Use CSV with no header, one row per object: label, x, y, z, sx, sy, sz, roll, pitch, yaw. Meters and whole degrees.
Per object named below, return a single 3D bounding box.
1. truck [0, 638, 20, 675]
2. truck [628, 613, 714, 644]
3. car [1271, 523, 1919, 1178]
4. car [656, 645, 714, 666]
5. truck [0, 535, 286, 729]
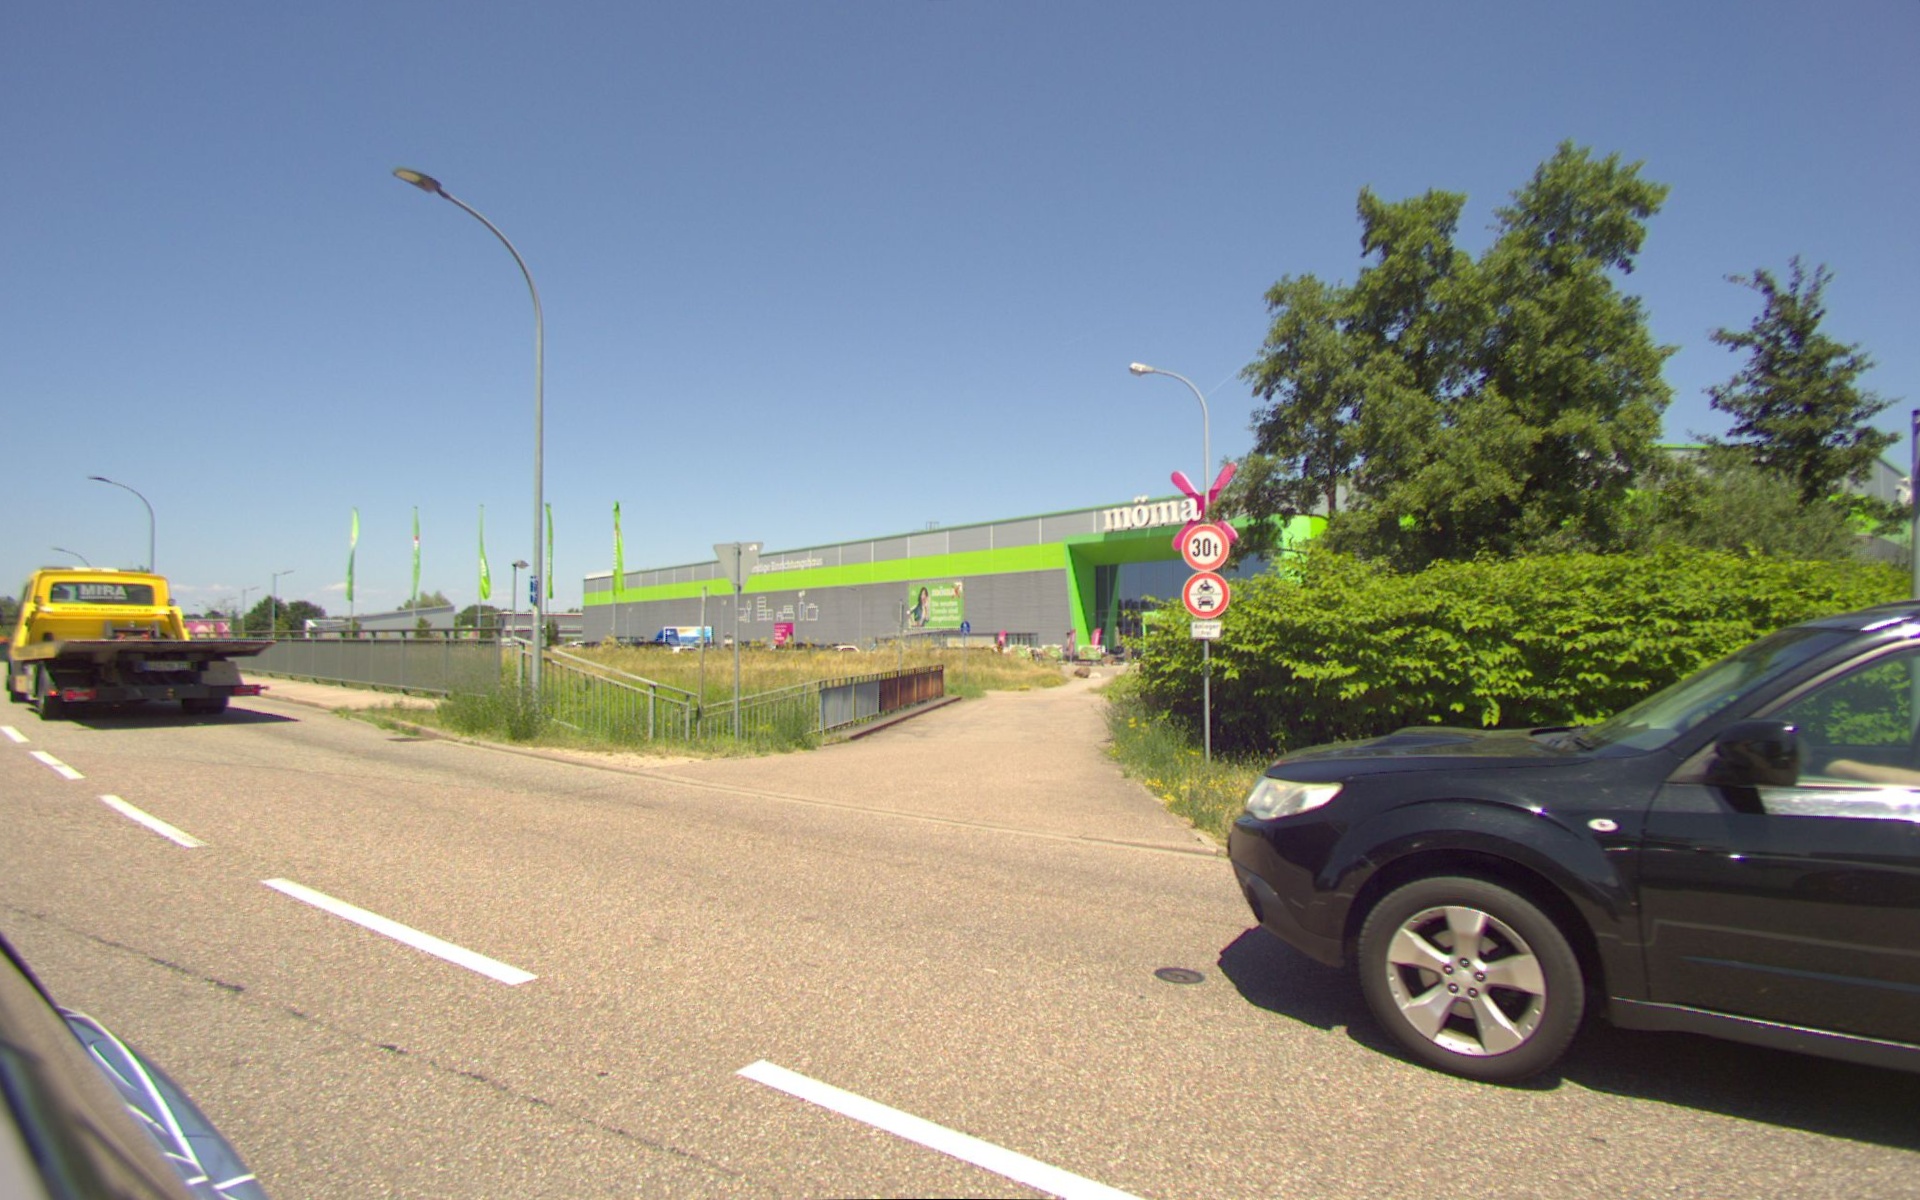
truck,-114.244,6.728,119.628,2.800,4.229,8.156,-1,-3,-30
truck,-28.004,2.801,98.444,7.655,2.704,2.966,-1,-3,-7
car,3.265,0.687,3.320,3.986,1.715,1.888,-1,-3,31
car,-21.412,4.267,78.747,3.939,1.448,1.848,0,-2,-42
truck,-13.500,0.468,16.133,9.048,2.355,2.286,0,-3,42
